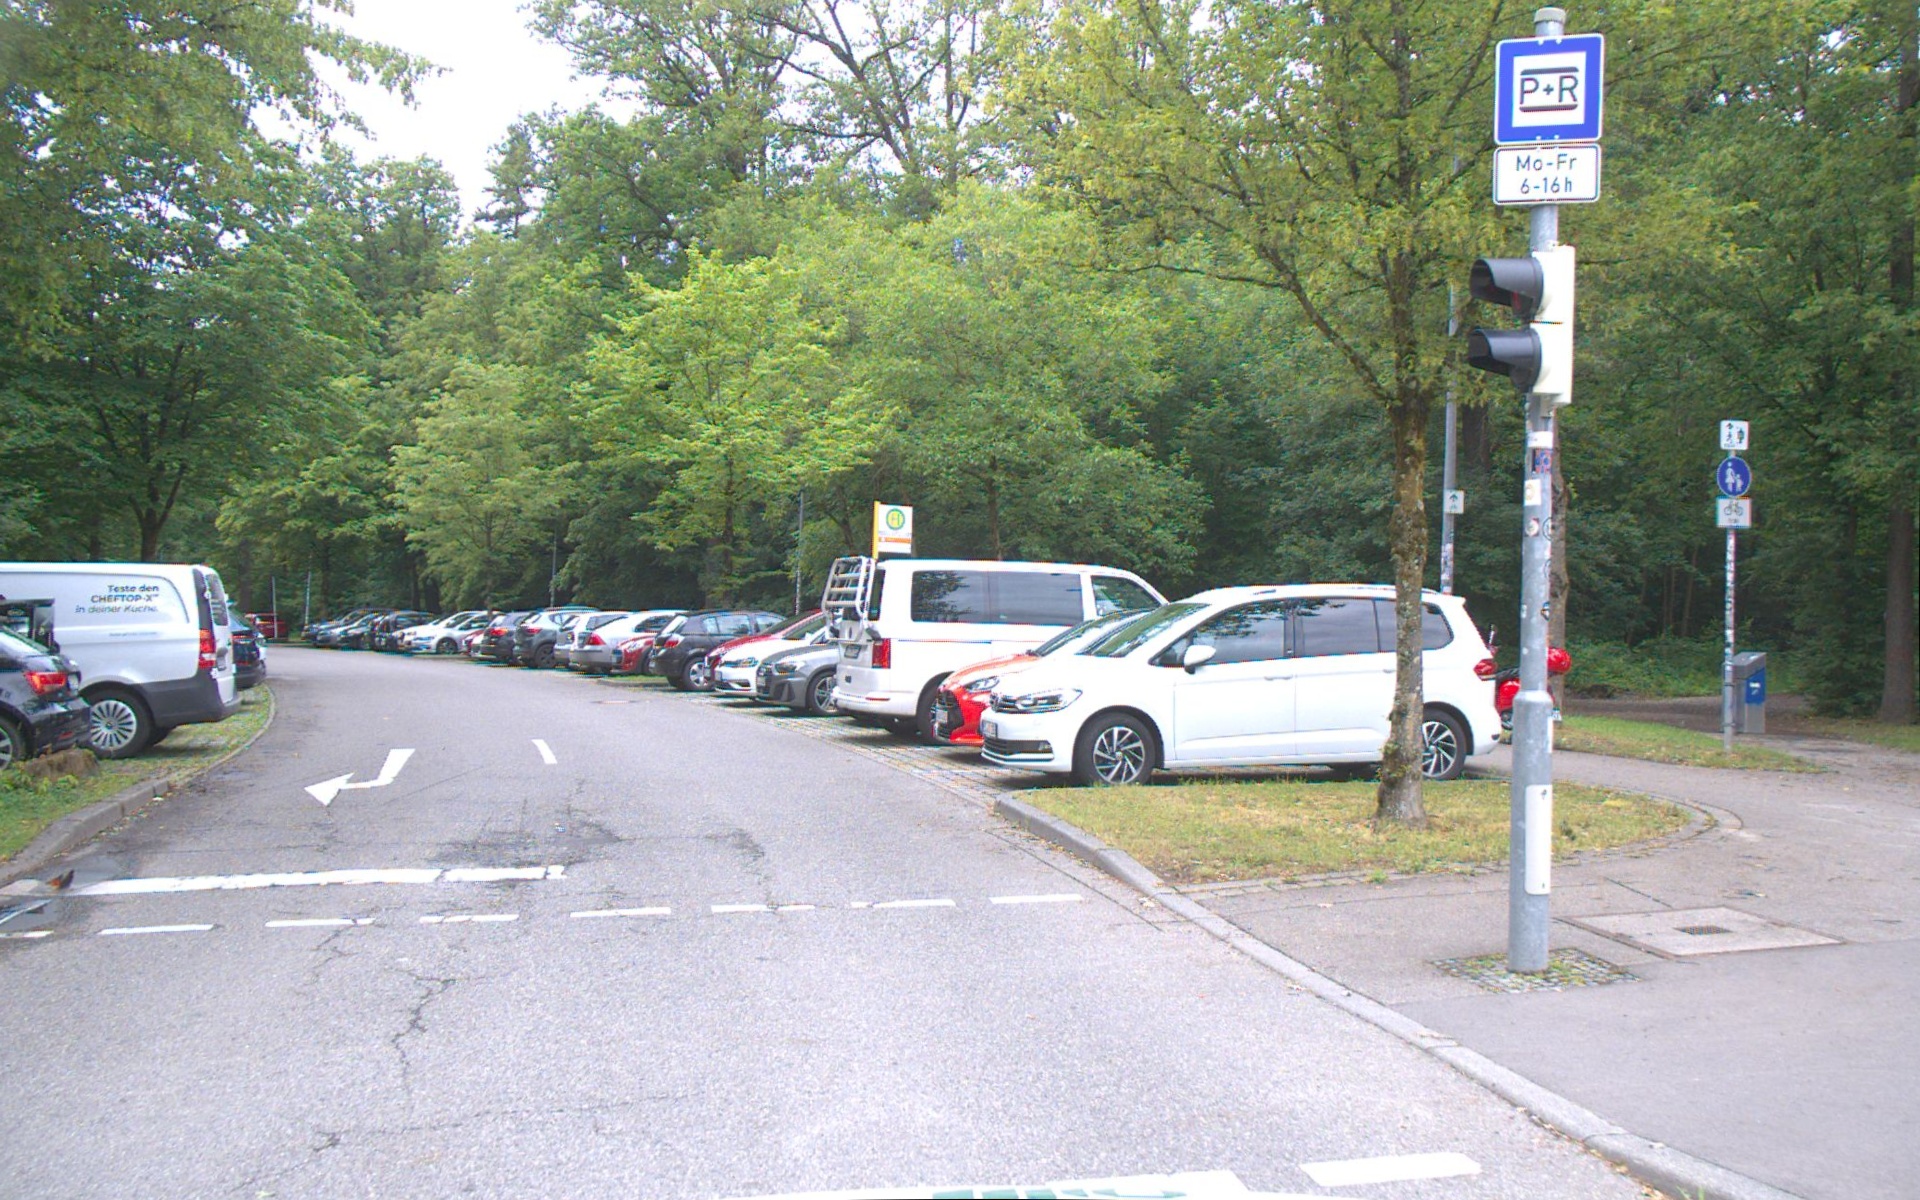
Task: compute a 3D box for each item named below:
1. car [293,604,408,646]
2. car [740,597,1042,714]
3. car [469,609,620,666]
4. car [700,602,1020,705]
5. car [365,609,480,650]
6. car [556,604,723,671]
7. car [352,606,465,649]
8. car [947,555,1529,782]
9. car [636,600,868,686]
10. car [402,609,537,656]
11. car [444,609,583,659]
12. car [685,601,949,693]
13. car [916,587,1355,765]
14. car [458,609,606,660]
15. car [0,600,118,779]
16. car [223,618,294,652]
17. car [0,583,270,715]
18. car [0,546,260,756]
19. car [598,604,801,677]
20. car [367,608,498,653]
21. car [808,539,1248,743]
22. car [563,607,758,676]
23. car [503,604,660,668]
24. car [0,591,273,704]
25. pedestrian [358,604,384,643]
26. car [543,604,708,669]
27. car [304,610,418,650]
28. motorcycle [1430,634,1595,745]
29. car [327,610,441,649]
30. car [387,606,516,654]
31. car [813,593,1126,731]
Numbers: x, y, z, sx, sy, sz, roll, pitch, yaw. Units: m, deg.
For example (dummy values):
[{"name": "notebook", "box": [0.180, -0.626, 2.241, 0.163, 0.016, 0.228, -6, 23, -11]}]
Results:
[{"name": "car", "box": [-25.848, 1.064, 70.173, 4.231, 1.695, 1.934, 1, -1, -36]}, {"name": "car", "box": [-1.006, 0.811, 23.729, 3.930, 1.509, 1.865, 3, -2, -21]}, {"name": "car", "box": [-11.593, 1.036, 46.214, 3.732, 1.507, 1.754, 1, 0, -32]}, {"name": "car", "box": [-1.580, 0.812, 25.932, 4.701, 1.501, 1.842, 1, 0, -20]}, {"name": "car", "box": [-20.121, 1.097, 61.899, 3.792, 1.483, 1.788, 0, -1, -33]}, {"name": "car", "box": [-7.737, 0.904, 39.994, 3.657, 1.537, 1.736, 1, -1, -27]}, {"name": "car", "box": [-21.265, 1.046, 63.799, 3.794, 1.558, 1.829, 0, 0, -35]}, {"name": "car", "box": [2.293, 0.553, 14.136, 4.443, 1.723, 2.157, 1, -1, -14]}, {"name": "car", "box": [-3.872, 0.767, 30.733, 3.933, 1.509, 1.909, 0, -1, -23]}, {"name": "car", "box": [-16.365, 1.081, 55.229, 3.942, 1.510, 1.861, 1, 0, -35]}, {"name": "car", "box": [-13.818, 1.052, 51.239, 3.769, 1.466, 1.844, 1, 0, -39]}, {"name": "car", "box": [-2.473, 0.799, 28.560, 4.171, 1.506, 1.906, 1, -1, -23]}, {"name": "car", "box": [1.693, 0.732, 16.537, 3.928, 1.582, 1.940, 2, 0, -13]}, {"name": "car", "box": [-12.609, 1.020, 48.767, 3.891, 1.436, 1.859, 1, 0, -31]}, {"name": "car", "box": [-9.149, 0.687, 13.371, 3.926, 1.403, 1.713, 1, 0, -19]}, {"name": "car", "box": [-32.911, 1.621, 77.535, 1.978, 1.505, 4.906, 1, -1, -37]}, {"name": "car", "box": [-12.048, 0.657, 23.041, 4.361, 1.724, 2.158, 1, 0, -21]}, {"name": "car", "box": [-9.665, 0.480, 16.196, 5.007, 1.949, 1.968, 0, 0, -19]}, {"name": "car", "box": [-5.586, 0.844, 35.467, 3.940, 1.475, 1.924, 0, -1, -27]}, {"name": "car", "box": [-18.976, 1.097, 59.513, 4.152, 1.538, 1.870, 1, 0, -35]}, {"name": "car", "box": [0.753, 0.476, 19.053, 4.579, 2.056, 2.072, 3, 0, -20]}, {"name": "car", "box": [-6.845, 0.931, 37.799, 4.074, 1.487, 1.850, 0, -1, -25]}, {"name": "car", "box": [-10.056, 0.944, 43.946, 3.724, 1.617, 1.932, 1, 0, -28]}, {"name": "car", "box": [-12.900, 0.701, 25.395, 4.295, 1.626, 2.017, 0, -1, -23]}, {"name": "pedestrian", "box": [-26.786, 1.070, 75.212, 0.811, 1.756, 0.990, 2, -2, -37]}, {"name": "car", "box": [-8.488, 0.922, 42.017, 3.800, 1.573, 1.713, 1, -1, -29]}, {"name": "car", "box": [-24.589, 1.223, 67.943, 3.963, 1.579, 1.946, 1, -1, -41]}, {"name": "motorcycle", "box": [6.544, 1.035, 19.711, 0.666, 1.181, 1.996, 1, 0, -25]}, {"name": "car", "box": [-22.957, 1.183, 65.900, 3.952, 1.501, 1.929, 1, -1, -34]}, {"name": "car", "box": [-17.632, 1.032, 57.399, 3.967, 1.586, 1.957, 1, 0, -31]}, {"name": "car", "box": [0.106, 0.805, 21.704, 3.669, 1.581, 1.835, 3, 1, -21]}]
